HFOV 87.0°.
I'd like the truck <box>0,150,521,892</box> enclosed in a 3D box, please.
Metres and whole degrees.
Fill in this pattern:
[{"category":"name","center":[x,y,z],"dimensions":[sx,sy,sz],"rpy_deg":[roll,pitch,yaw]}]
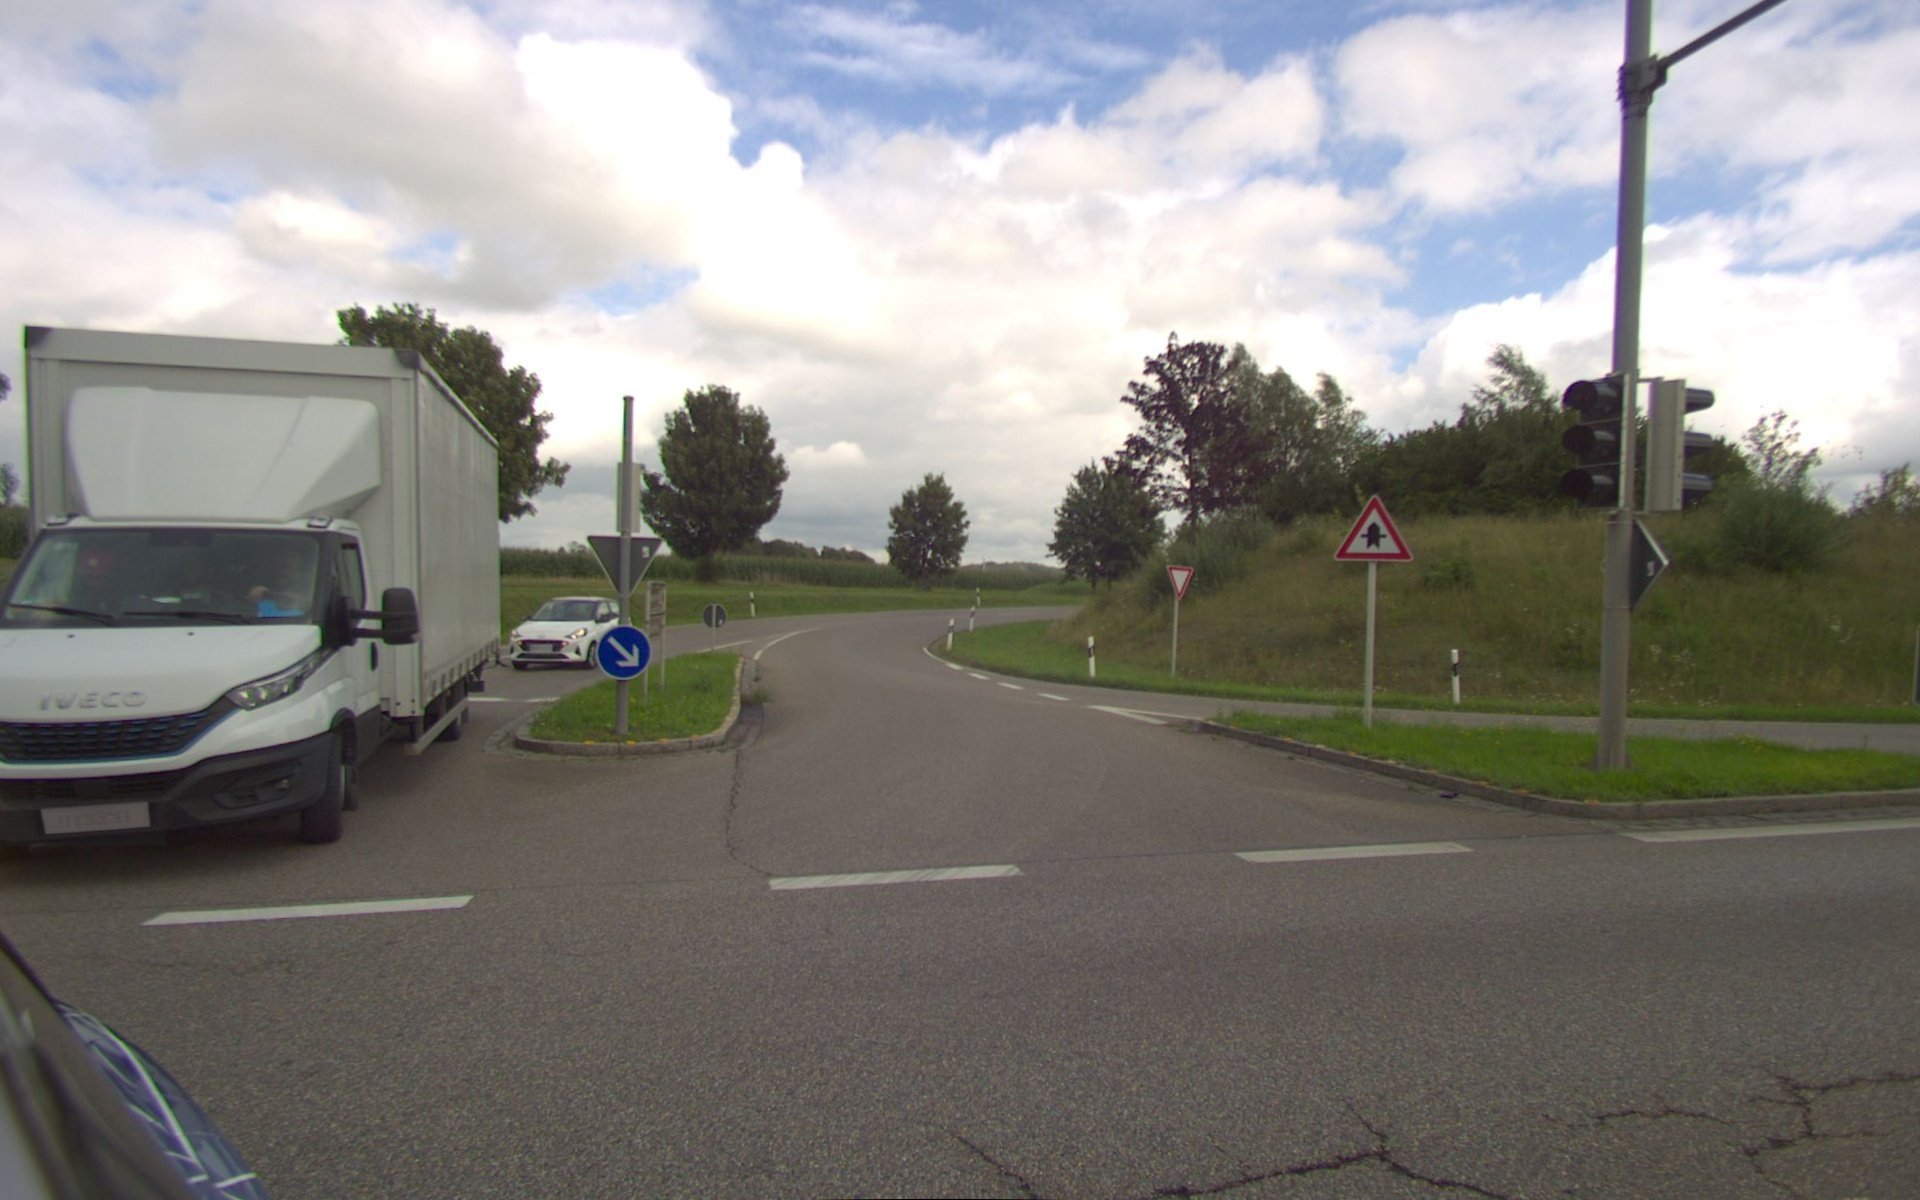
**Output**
[{"category":"truck","center":[-6.114,-0.337,9.404],"dimensions":[2.790,3.792,8.826],"rpy_deg":[1,-1,-18]}]

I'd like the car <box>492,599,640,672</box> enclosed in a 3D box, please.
[{"category":"car","center":[-8.580,0.726,22.402],"dimensions":[1.785,1.463,4.001],"rpy_deg":[0,0,-1]}]
